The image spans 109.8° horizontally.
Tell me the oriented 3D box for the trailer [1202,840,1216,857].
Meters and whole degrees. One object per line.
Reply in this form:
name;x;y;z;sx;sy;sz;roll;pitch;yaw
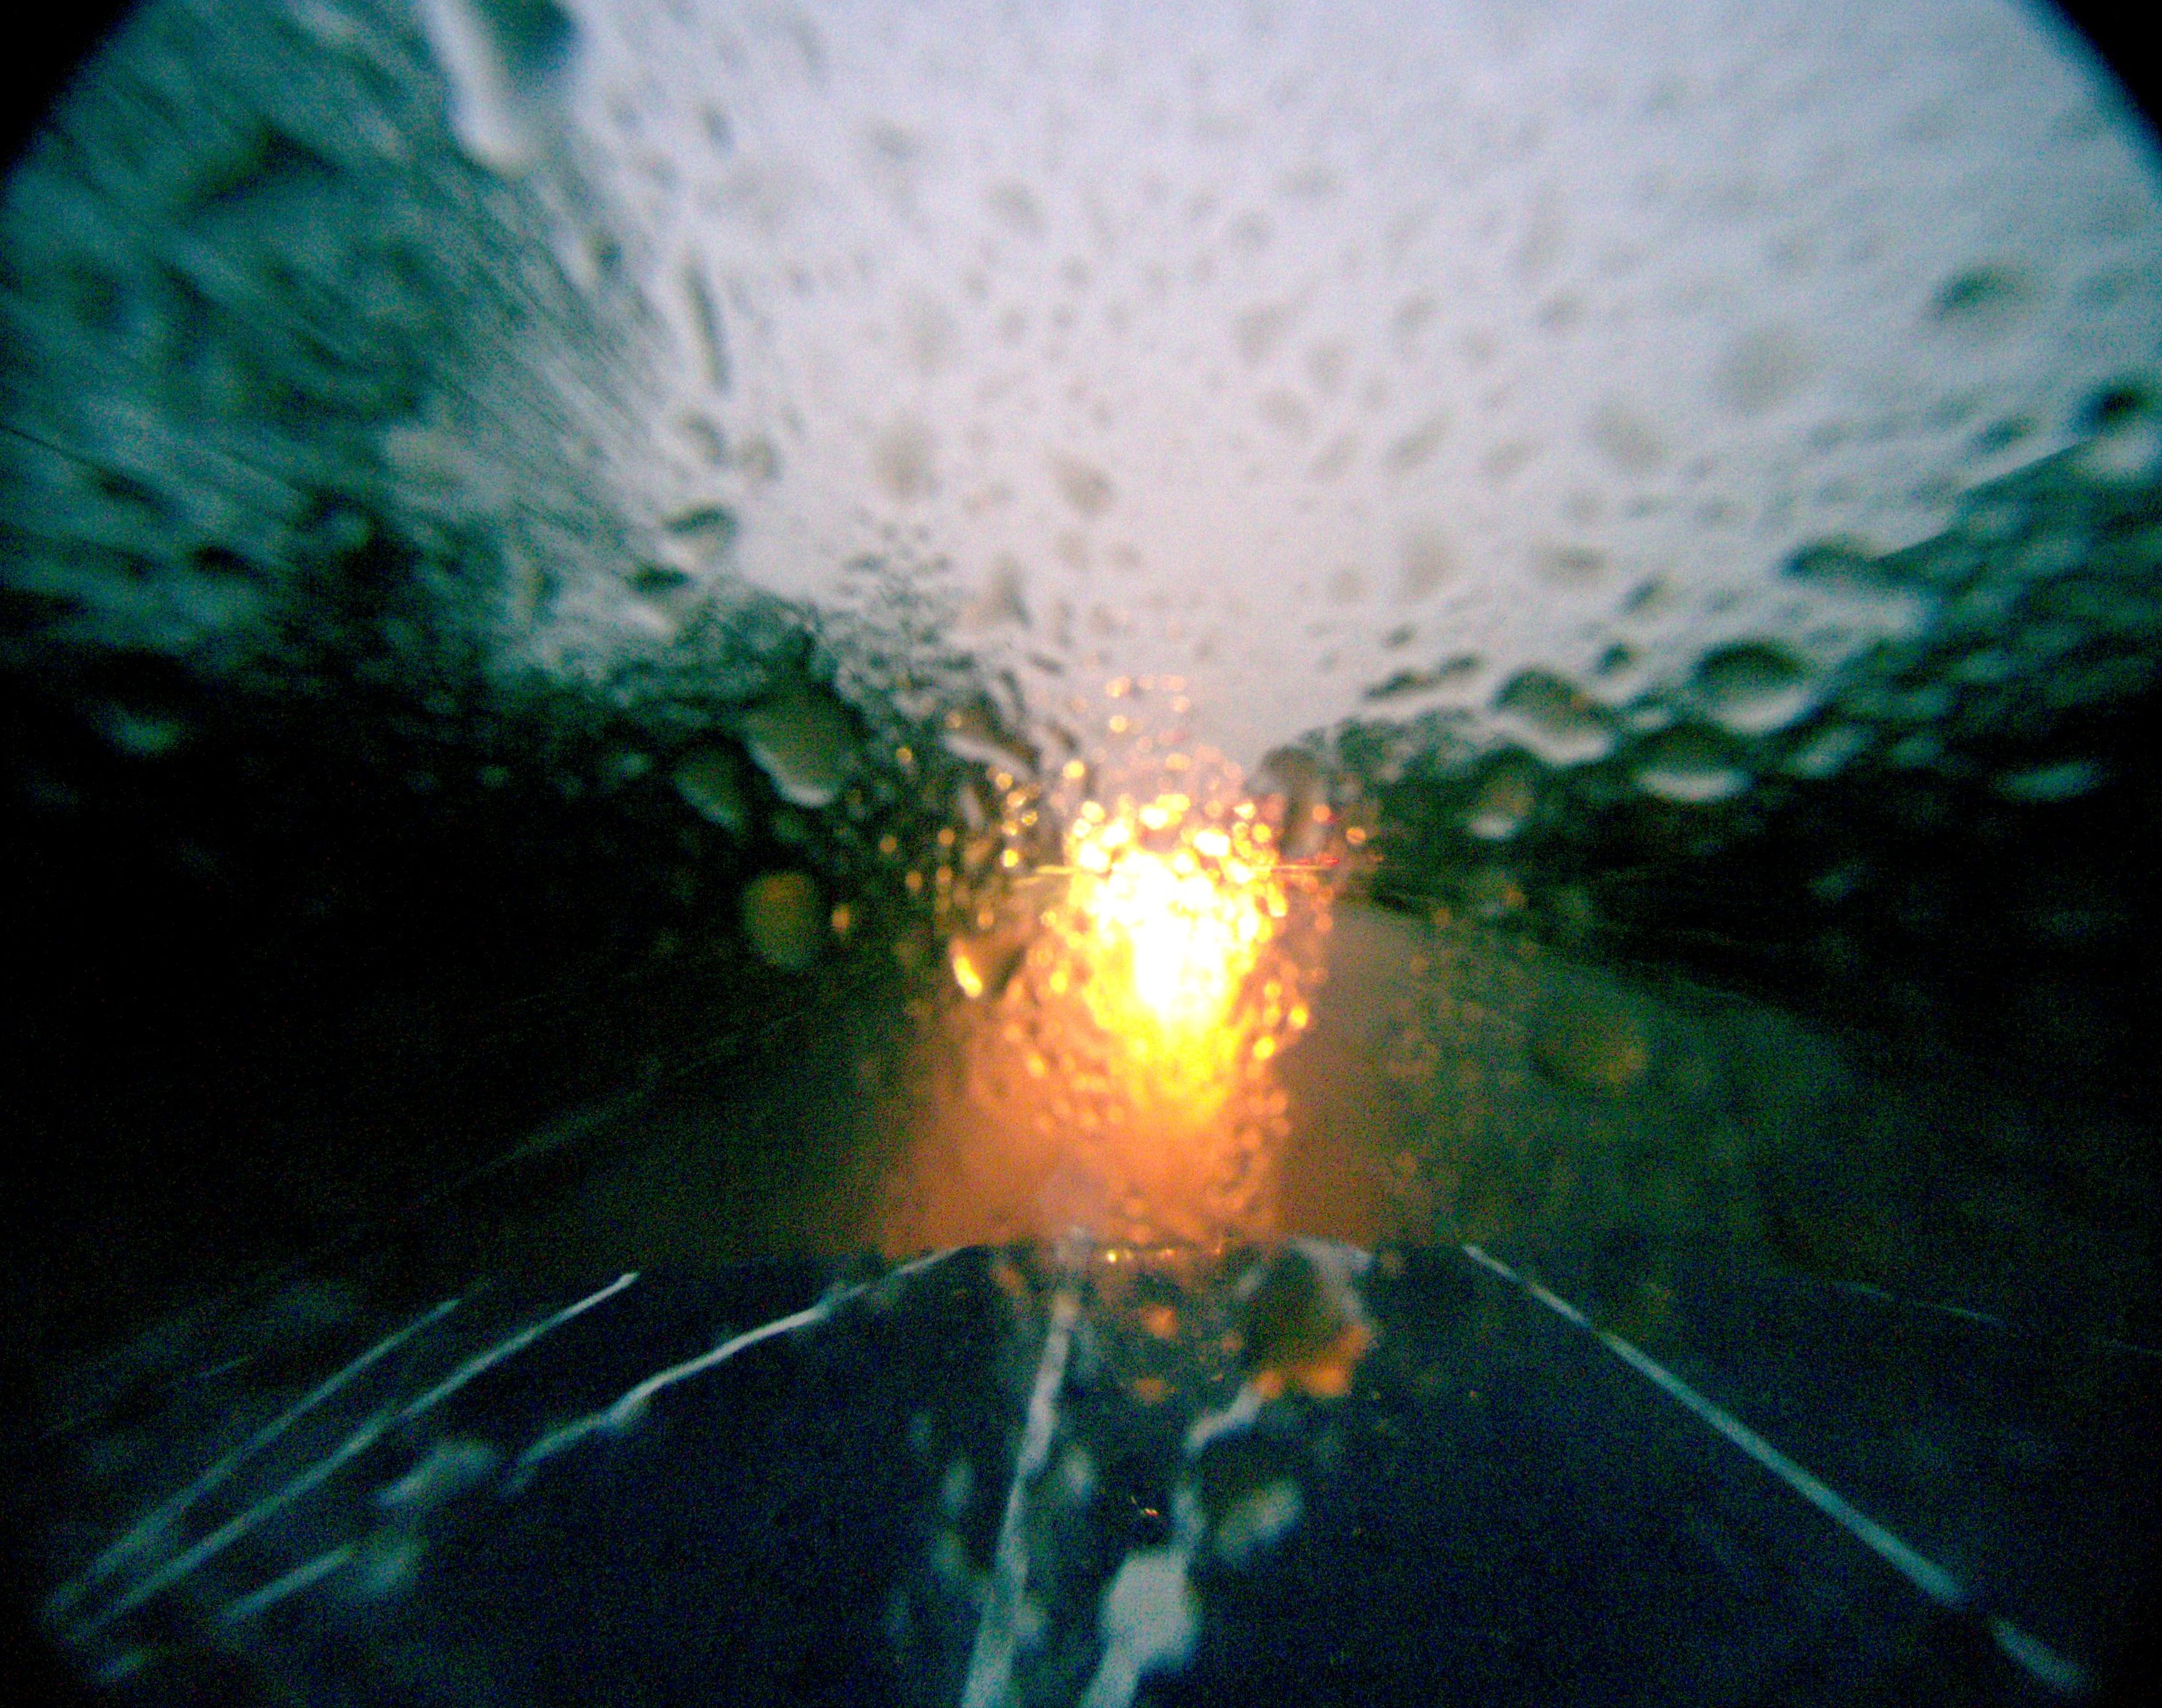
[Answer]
trailer;39.157;-1.724;232.376;3.496;4.819;13.486;-3;0;7

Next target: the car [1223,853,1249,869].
car;16.626;0.741;81.583;1.846;1.647;4.669;-2;0;1

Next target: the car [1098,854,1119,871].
car;2.726;0.798;75.461;1.841;1.553;3.867;-4;0;0

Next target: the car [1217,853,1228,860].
car;27.960;0.526;150.316;1.549;1.314;4.258;-4;0;3

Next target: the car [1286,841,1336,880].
car;14.455;0.371;48.015;1.979;2.268;5.050;-1;0;4

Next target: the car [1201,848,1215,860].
car;31.497;-0.018;188.880;2.533;2.714;6.341;-4;0;3

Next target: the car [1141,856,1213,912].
car;2.880;0.849;23.556;1.952;1.511;4.789;-1;0;5

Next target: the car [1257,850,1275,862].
car;24.358;0.207;100.167;1.549;1.504;4.541;-2;0;3
